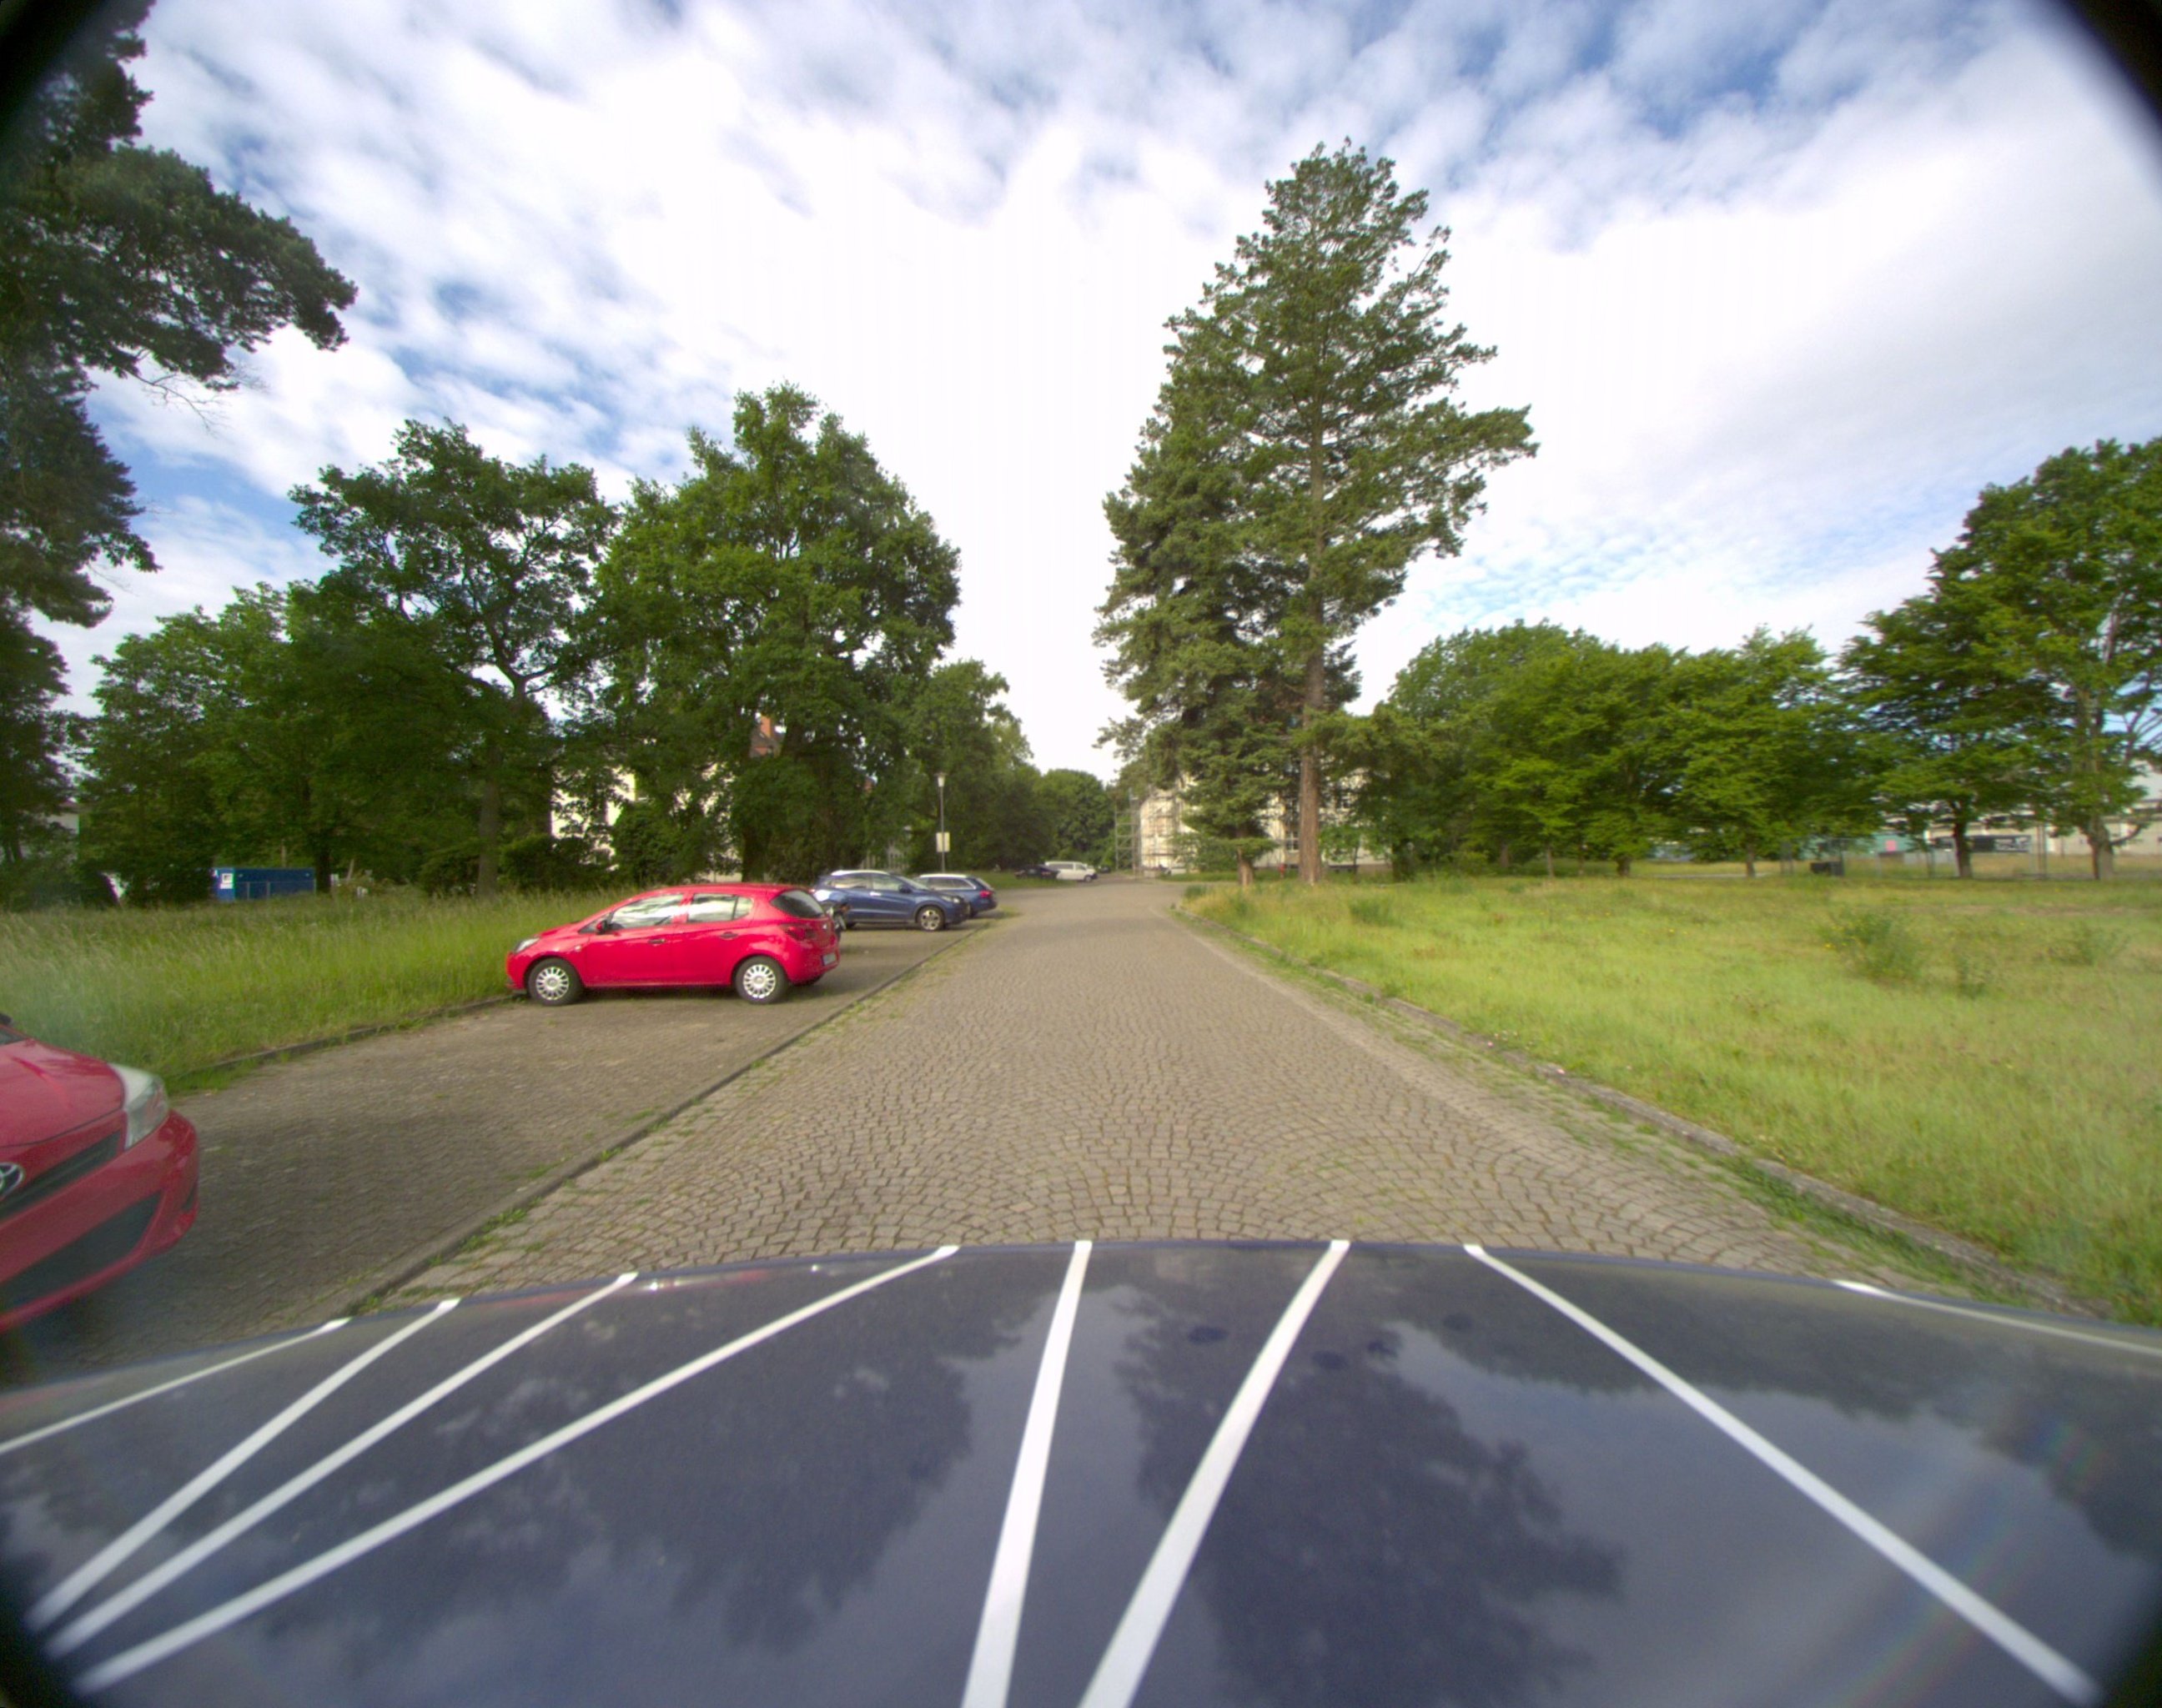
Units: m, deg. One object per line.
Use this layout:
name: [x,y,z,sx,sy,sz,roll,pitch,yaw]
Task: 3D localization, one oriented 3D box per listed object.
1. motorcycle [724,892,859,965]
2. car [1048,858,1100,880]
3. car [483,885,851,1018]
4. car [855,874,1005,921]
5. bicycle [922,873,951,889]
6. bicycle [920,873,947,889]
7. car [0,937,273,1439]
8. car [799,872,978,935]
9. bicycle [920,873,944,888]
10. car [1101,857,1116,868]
motorcycle: [-5.413,1.381,14.306,2.271,1.267,0.605,-1,0,-5]
car: [-0.729,1.470,73.742,4.916,1.982,2.000,-1,0,-2]
car: [-5.199,1.201,9.940,3.849,1.496,1.738,-1,0,-1]
car: [-4.901,1.394,25.037,4.515,1.456,1.896,0,-1,4]
bicycle: [-10.466,1.983,55.022,2.020,1.082,0.478,-1,2,-22]
bicycle: [-11.088,2.033,57.170,1.868,1.082,0.519,-1,2,-22]
car: [-5.445,1.150,2.353,3.997,1.509,1.738,-1,0,0]
car: [-5.020,1.290,20.265,4.274,1.564,1.895,0,-1,0]
bicycle: [-11.569,2.054,59.012,1.810,1.082,0.552,-1,2,-22]
car: [5.035,1.599,139.885,2.029,1.915,3.997,-1,-1,-11]
